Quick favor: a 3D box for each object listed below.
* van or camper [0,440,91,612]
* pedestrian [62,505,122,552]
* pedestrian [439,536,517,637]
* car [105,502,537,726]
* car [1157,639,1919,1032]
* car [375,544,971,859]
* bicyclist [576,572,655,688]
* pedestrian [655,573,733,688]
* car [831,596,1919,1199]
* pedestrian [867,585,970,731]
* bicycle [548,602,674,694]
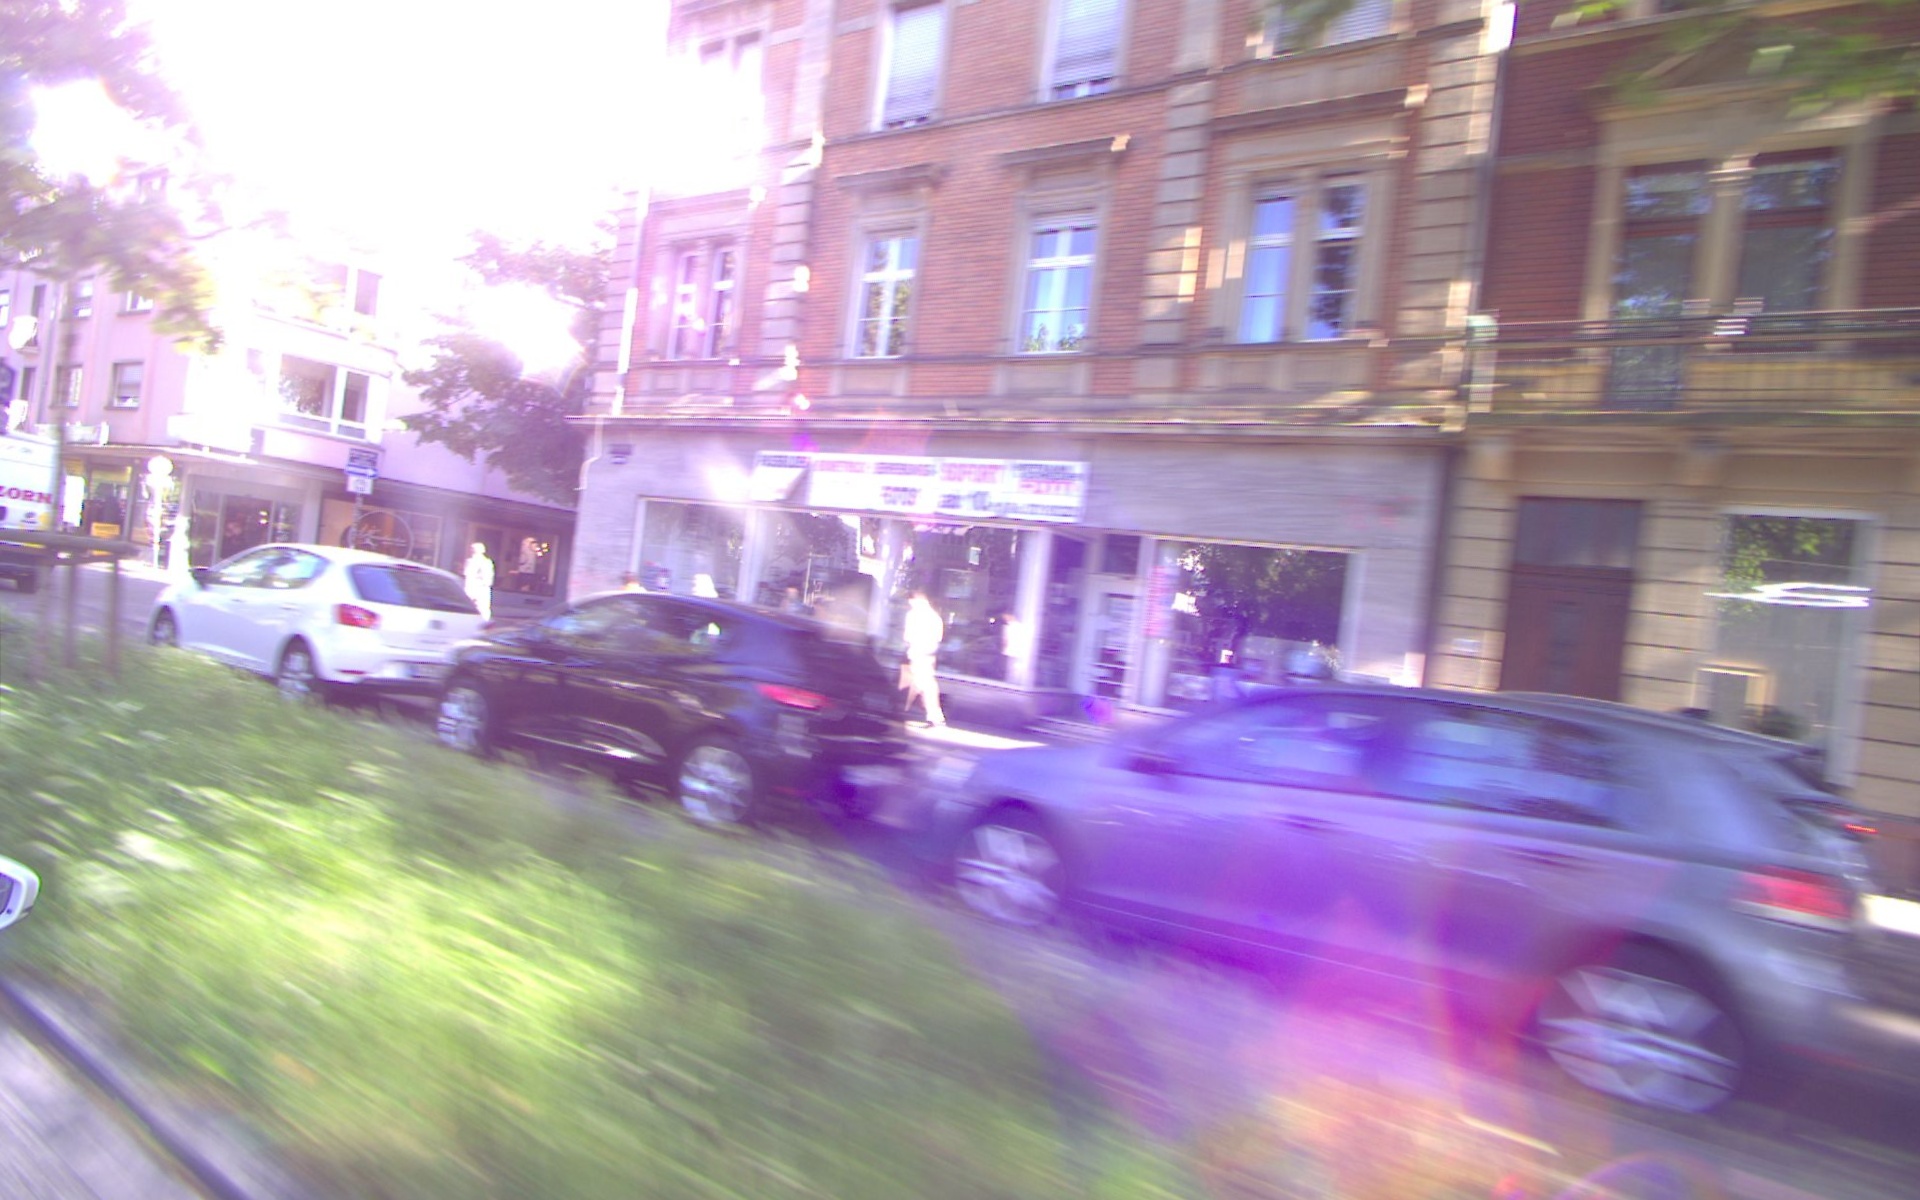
[{"bbox_3d":[-17.292,-1.462,16.966,6.168,2.507,2.189,6,-3,34],"label":"van or camper"},{"bbox_3d":[-27.303,-2.241,31.653,0.736,1.271,1.145,7,-1,32],"label":"pedestrian"},{"bbox_3d":[-9.144,-0.255,19.093,1.062,1.776,0.692,7,-1,32],"label":"pedestrian"},{"bbox_3d":[-6.373,0.103,9.942,4.114,1.588,1.759,6,-4,31],"label":"car"},{"bbox_3d":[3.722,1.337,7.072,4.114,1.598,1.756,6,0,31],"label":"car"},{"bbox_3d":[-2.212,0.629,7.486,4.114,1.512,1.759,6,-4,31],"label":"car"},{"bbox_3d":[-5.181,0.457,15.136,0.687,1.634,0.660,6,-1,32],"label":"bicyclist"},{"bbox_3d":[-4.220,0.488,15.960,0.740,1.704,0.692,6,-1,32],"label":"pedestrian"},{"bbox_3d":[1.692,1.039,4.957,4.291,1.479,1.743,6,-4,30],"label":"car"},{"bbox_3d":[-0.550,0.770,13.419,0.942,1.809,0.692,6,-1,32],"label":"pedestrian"},{"bbox_3d":[-5.273,0.712,15.164,1.868,1.140,0.670,6,-1,32],"label":"bicycle"}]
